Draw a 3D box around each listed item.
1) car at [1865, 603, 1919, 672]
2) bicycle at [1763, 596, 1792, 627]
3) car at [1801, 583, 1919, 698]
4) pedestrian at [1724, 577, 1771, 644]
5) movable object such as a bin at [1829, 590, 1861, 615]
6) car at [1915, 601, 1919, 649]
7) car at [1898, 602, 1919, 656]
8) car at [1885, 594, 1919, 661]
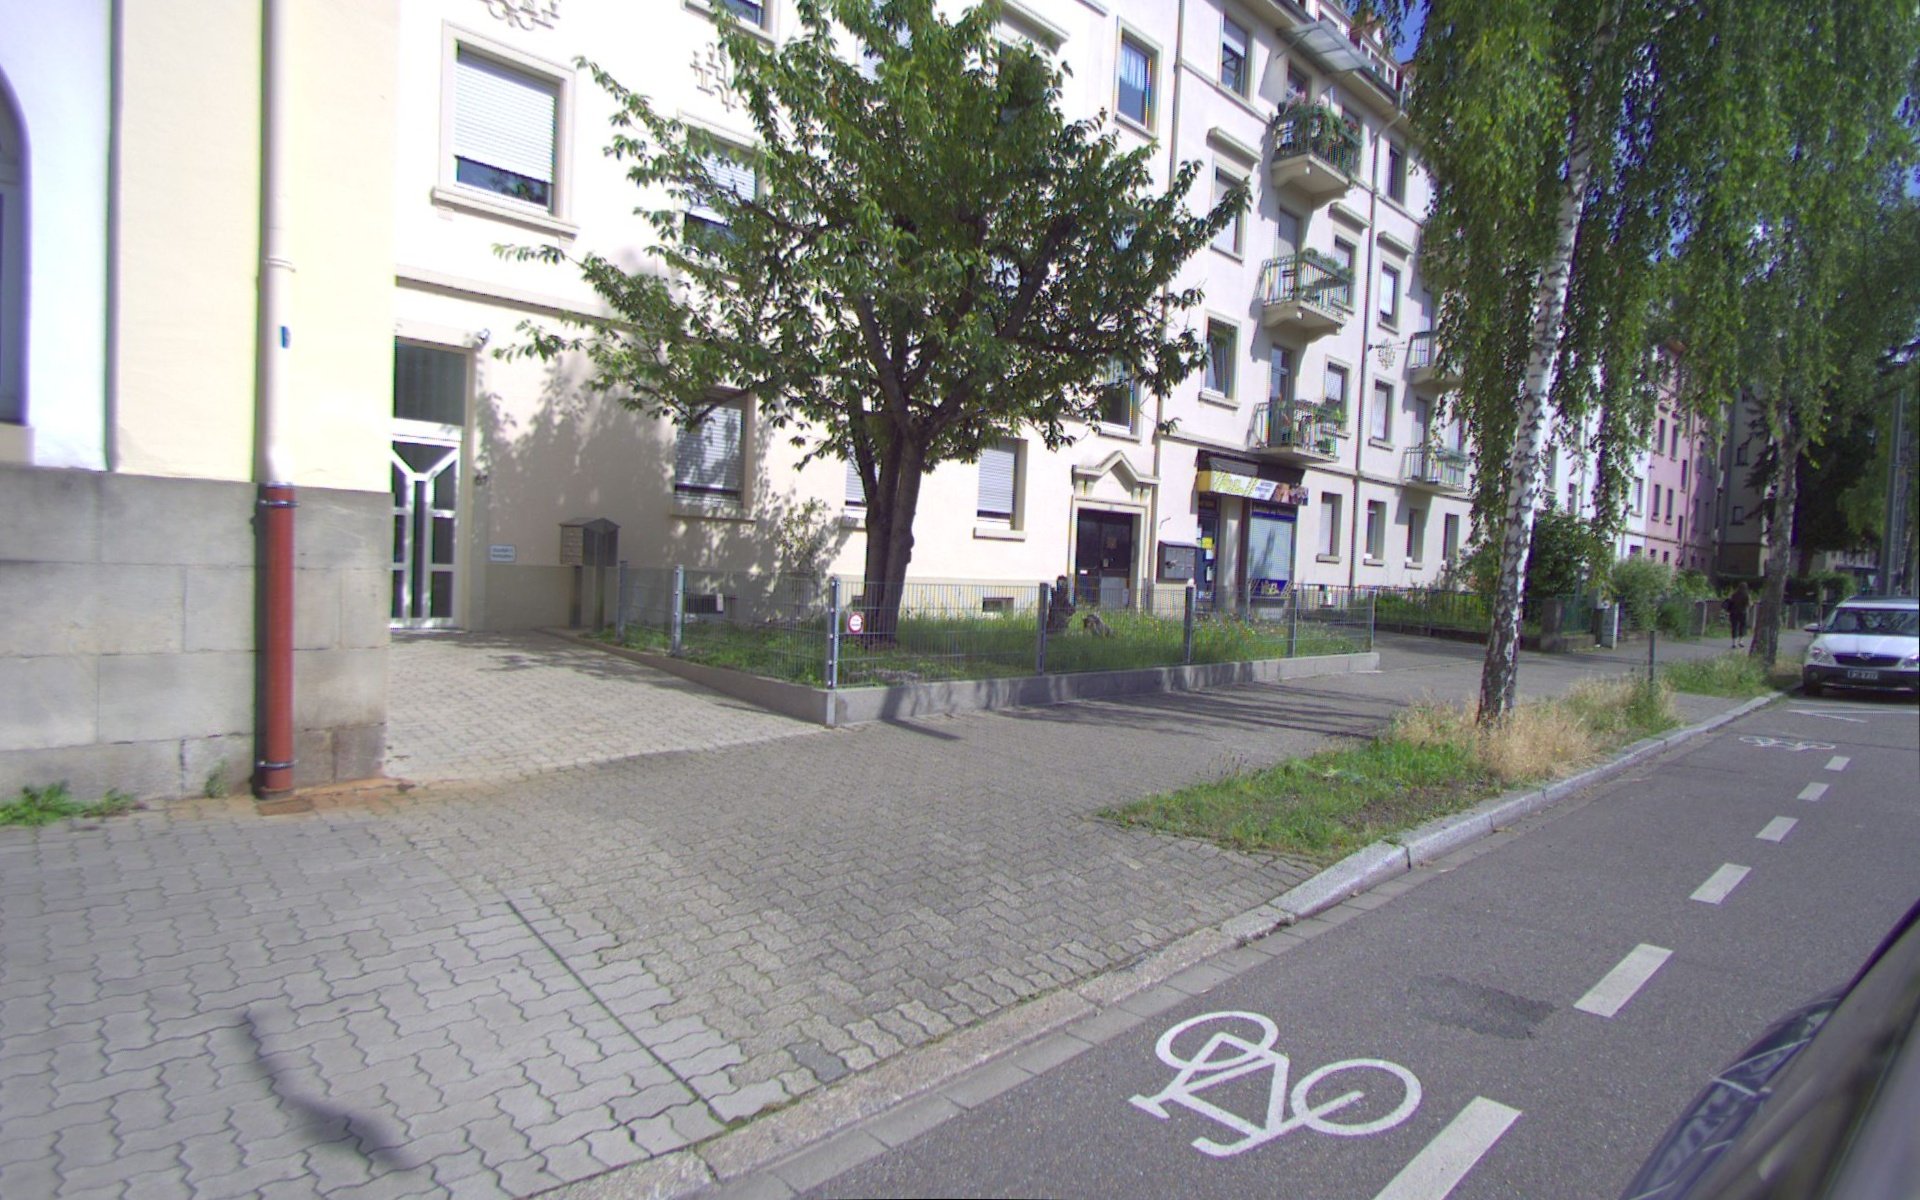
[{"bbox_3d":[21.307,0.788,22.401,3.733,1.435,1.674,0,0,-44],"label":"car"},{"bbox_3d":[30.514,0.422,37.757,2.145,1.090,0.472,1,3,-42],"label":"bicycle"},{"bbox_3d":[15.023,0.589,16.249,3.930,1.650,1.724,0,1,-41],"label":"car"},{"bbox_3d":[20.842,0.275,26.784,0.678,1.703,0.732,1,4,-40],"label":"pedestrian"},{"bbox_3d":[57.174,0.152,65.355,1.966,1.510,1.304,1,3,-43],"label":"movable object such as a bin"},{"bbox_3d":[31.481,0.773,32.029,3.853,1.471,1.621,0,0,-44],"label":"car"},{"bbox_3d":[28.241,0.811,29.144,3.780,1.471,1.590,0,0,-44],"label":"car"},{"bbox_3d":[24.512,0.670,25.597,1.494,1.599,3.698,1,1,45],"label":"car"}]
